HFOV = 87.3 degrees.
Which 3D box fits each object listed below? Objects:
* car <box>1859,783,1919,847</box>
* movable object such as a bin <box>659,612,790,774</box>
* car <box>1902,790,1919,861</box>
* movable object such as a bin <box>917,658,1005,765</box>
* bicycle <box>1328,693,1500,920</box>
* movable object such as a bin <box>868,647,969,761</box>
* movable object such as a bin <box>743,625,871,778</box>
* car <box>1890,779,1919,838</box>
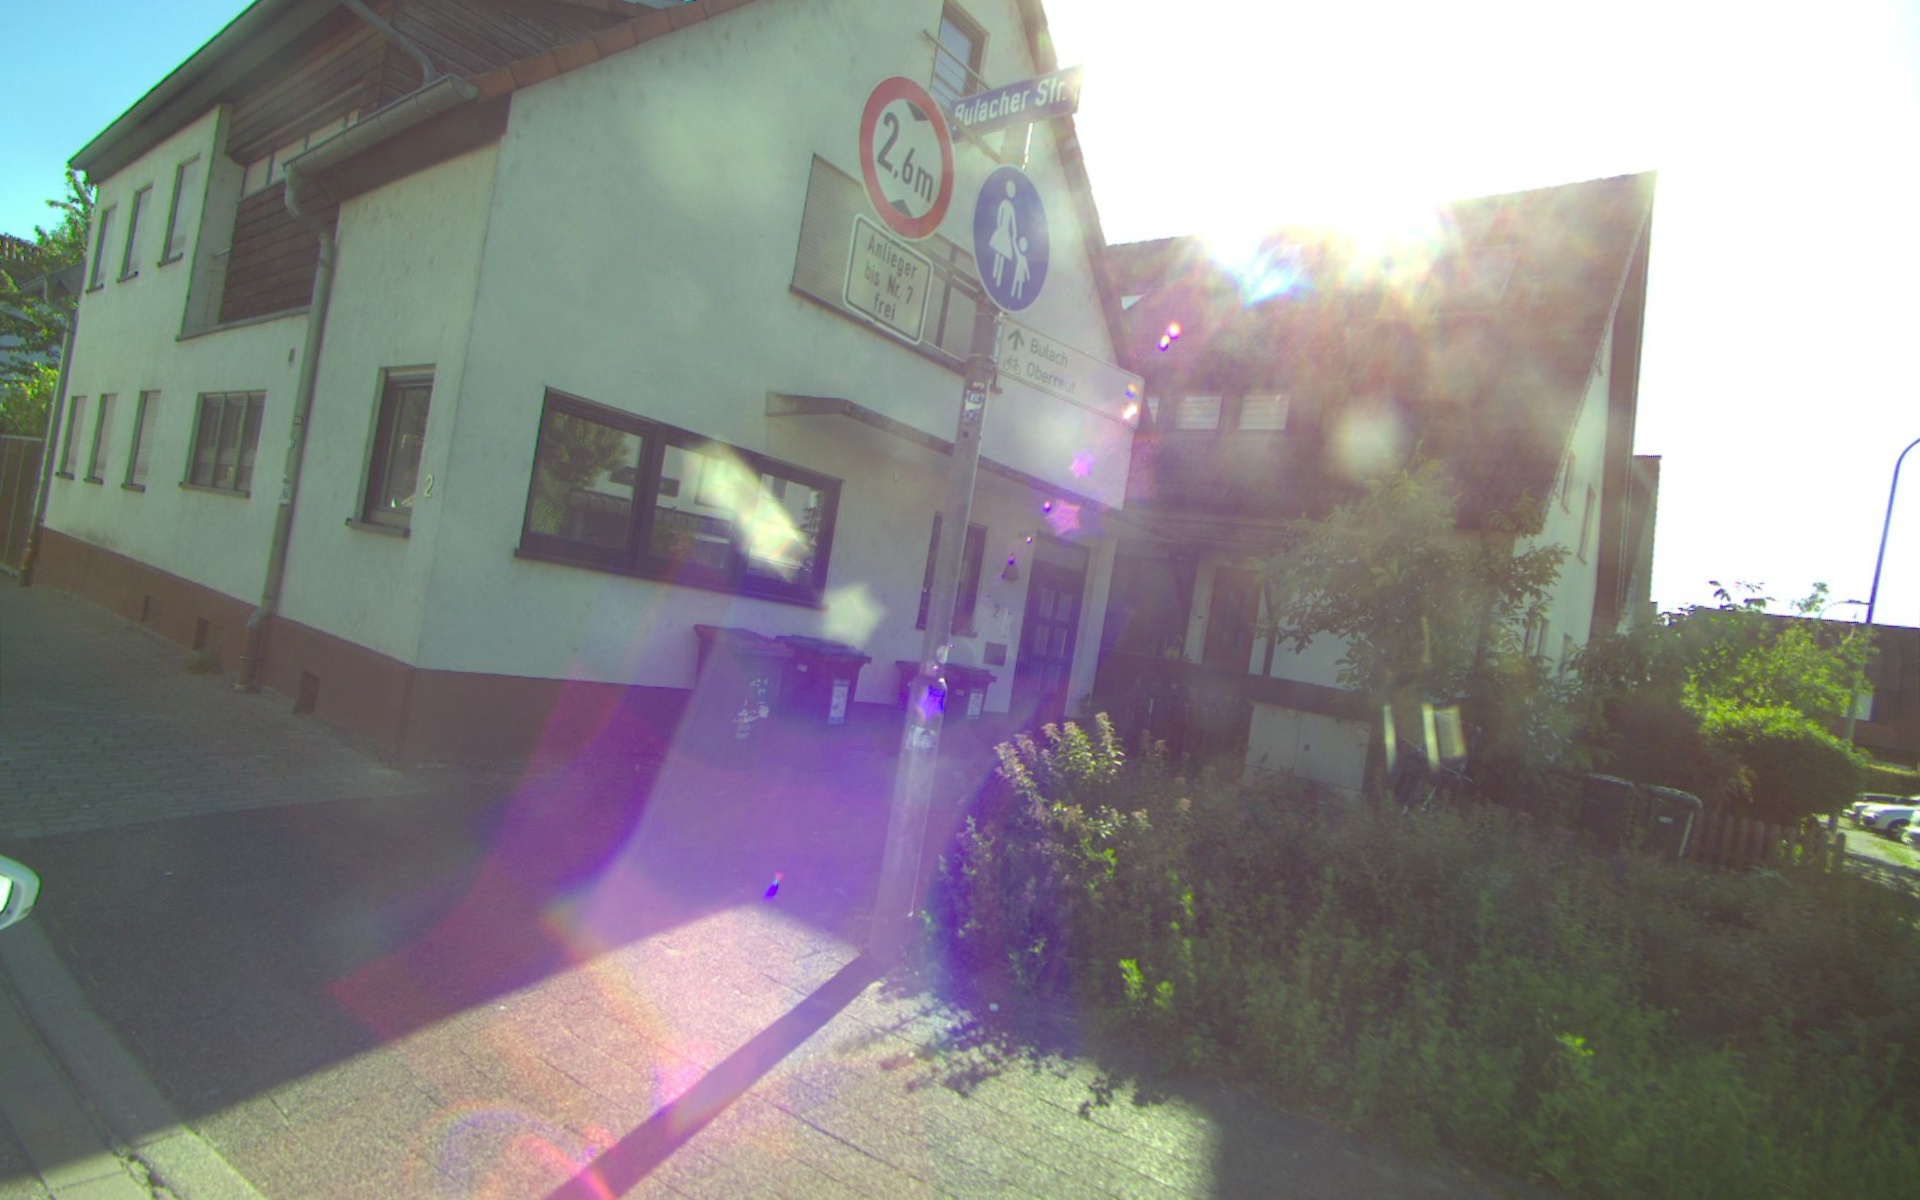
[{"bbox_3d":[27.011,6.132,27.312,3.563,1.469,1.457,10,-1,37],"label":"car"},{"bbox_3d":[-1.858,0.731,7.949,0.736,1.135,0.481,9,-1,36],"label":"movable object such as a bin"},{"bbox_3d":[22.200,5.133,20.877,3.563,1.437,1.456,10,1,37],"label":"car"},{"bbox_3d":[0.013,1.154,10.397,0.584,0.988,0.498,9,-1,36],"label":"movable object such as a bin"},{"bbox_3d":[3.264,1.406,7.126,0.689,1.298,1.741,8,-3,34],"label":"bicycle"},{"bbox_3d":[-0.406,1.021,9.885,0.659,0.994,0.530,9,-1,36],"label":"movable object such as a bin"},{"bbox_3d":[-1.283,0.849,8.439,0.736,1.135,0.527,9,-1,36],"label":"movable object such as a bin"},{"bbox_3d":[30.923,6.722,30.500,3.646,1.645,1.410,10,1,36],"label":"car"}]
